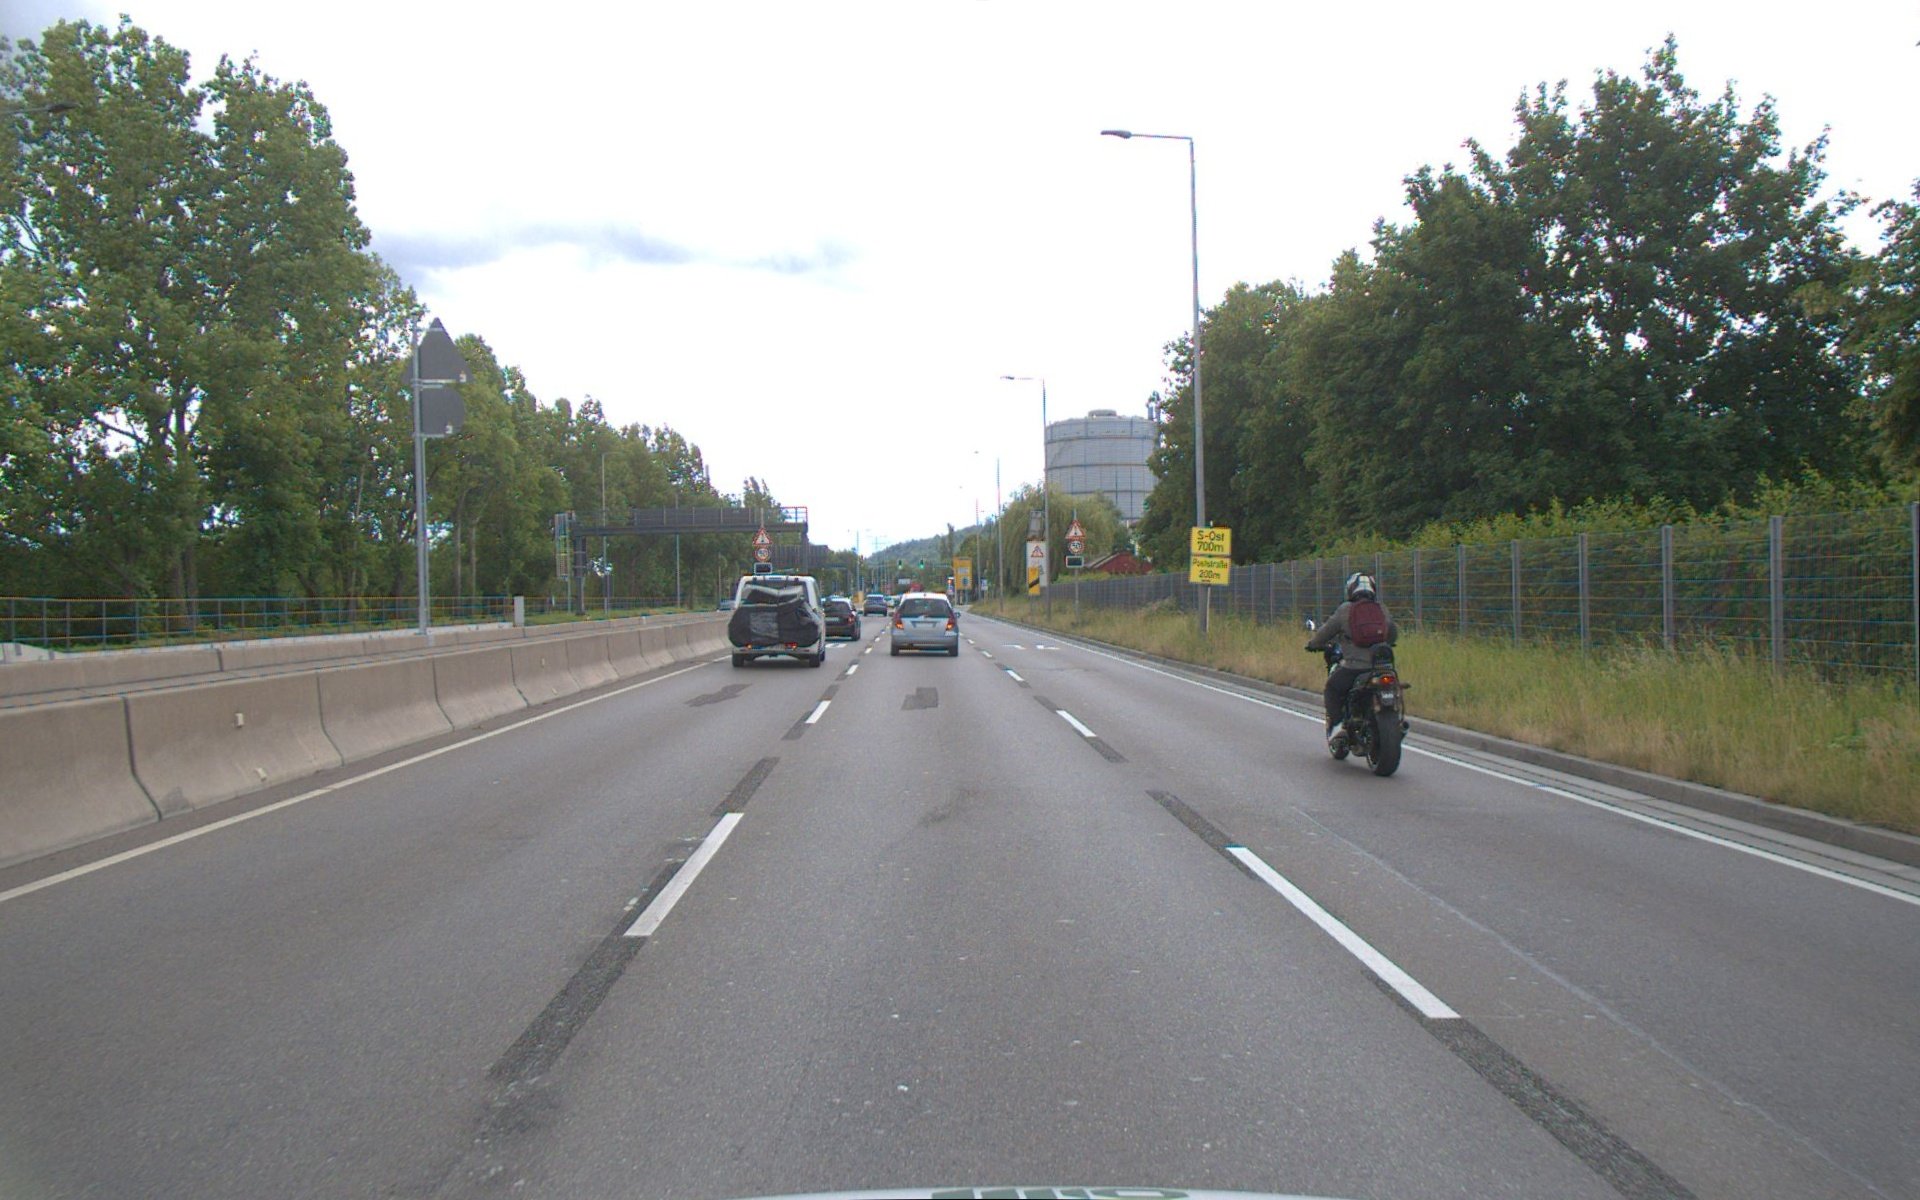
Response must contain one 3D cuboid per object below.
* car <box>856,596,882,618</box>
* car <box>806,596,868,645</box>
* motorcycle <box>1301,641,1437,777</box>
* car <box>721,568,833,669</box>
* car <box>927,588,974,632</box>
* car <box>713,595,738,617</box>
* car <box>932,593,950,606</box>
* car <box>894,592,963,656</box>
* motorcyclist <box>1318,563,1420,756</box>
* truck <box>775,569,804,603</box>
[{"bbox_3d":[-6.997,0.527,127.750,1.954,1.579,3.998,1,0,-3],"label":"car"},{"bbox_3d":[-4.141,0.678,56.189,1.954,1.579,3.998,1,0,-3],"label":"car"},{"bbox_3d":[3.574,0.923,14.621,0.692,1.058,2.027,1,0,0],"label":"motorcycle"},{"bbox_3d":[-3.836,0.362,35.187,2.171,1.959,4.997,1,0,-5],"label":"car"},{"bbox_3d":[-0.435,0.401,68.507,1.869,1.713,3.999,1,0,-1],"label":"car"},{"bbox_3d":[-21.917,0.542,154.570,1.954,2.049,3.998,1,0,-3],"label":"car"},{"bbox_3d":[-2.251,-0.049,196.886,1.954,1.579,3.998,1,0,-3],"label":"car"},{"bbox_3d":[-0.850,0.605,43.223,1.676,1.557,3.998,1,0,-2],"label":"car"},{"bbox_3d":[3.592,0.511,14.586,0.671,1.638,0.845,1,0,0],"label":"motorcyclist"},{"bbox_3d":[-16.633,-1.313,161.602,2.356,3.161,7.198,1,0,-2],"label":"truck"}]
